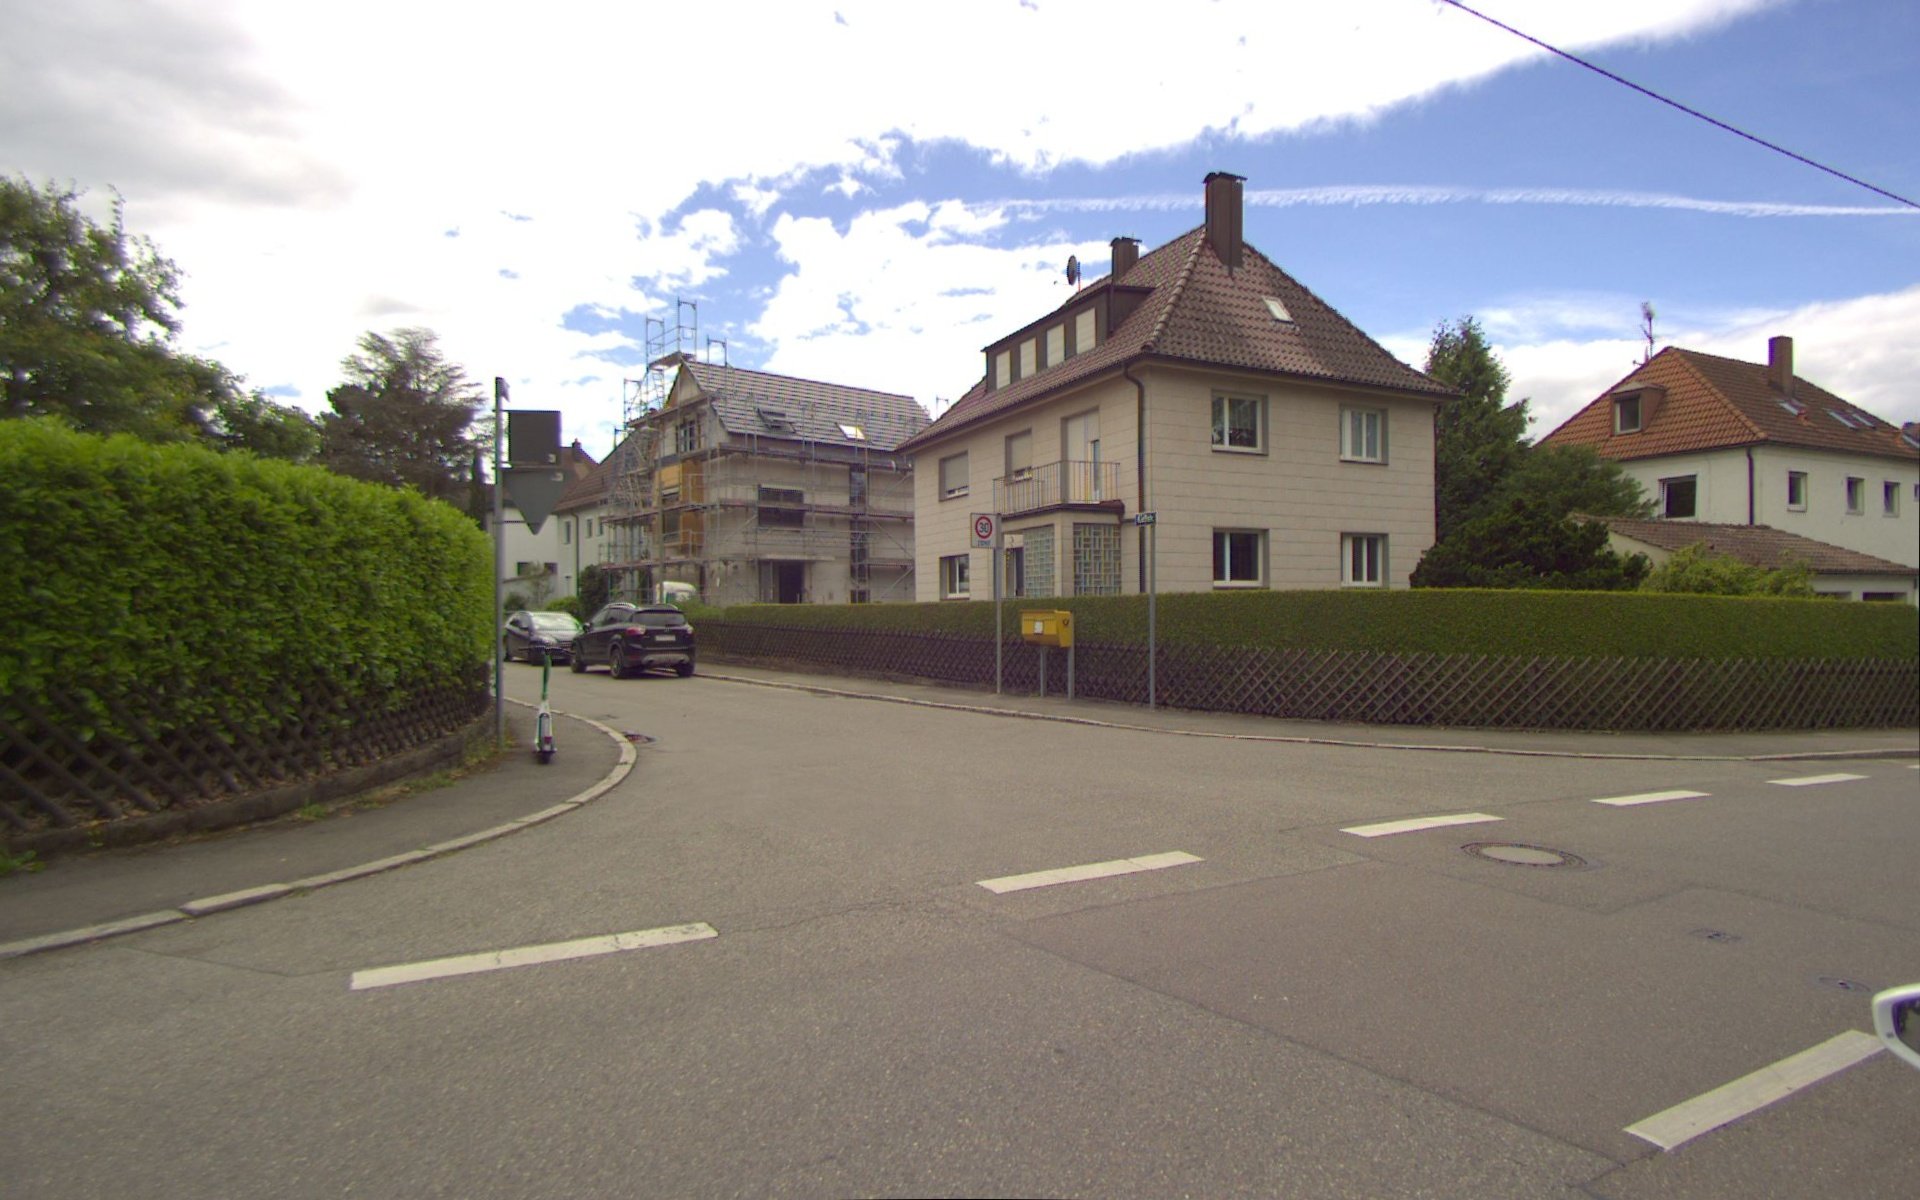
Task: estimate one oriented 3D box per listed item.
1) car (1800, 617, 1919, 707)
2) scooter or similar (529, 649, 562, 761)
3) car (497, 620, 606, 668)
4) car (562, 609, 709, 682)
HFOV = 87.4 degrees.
[{"bbox_3d":[18.449,1.152,18.648,1.977,1.639,3.967,1,-1,-30],"label":"car"},{"bbox_3d":[-4.435,1.103,10.749,0.300,1.134,0.721,1,-1,-22],"label":"scooter or similar"},{"bbox_3d":[-11.672,1.209,28.599,1.676,1.243,3.952,1,-1,-41],"label":"car"},{"bbox_3d":[-7.825,1.026,24.037,1.950,1.584,3.952,1,-1,-41],"label":"car"}]
